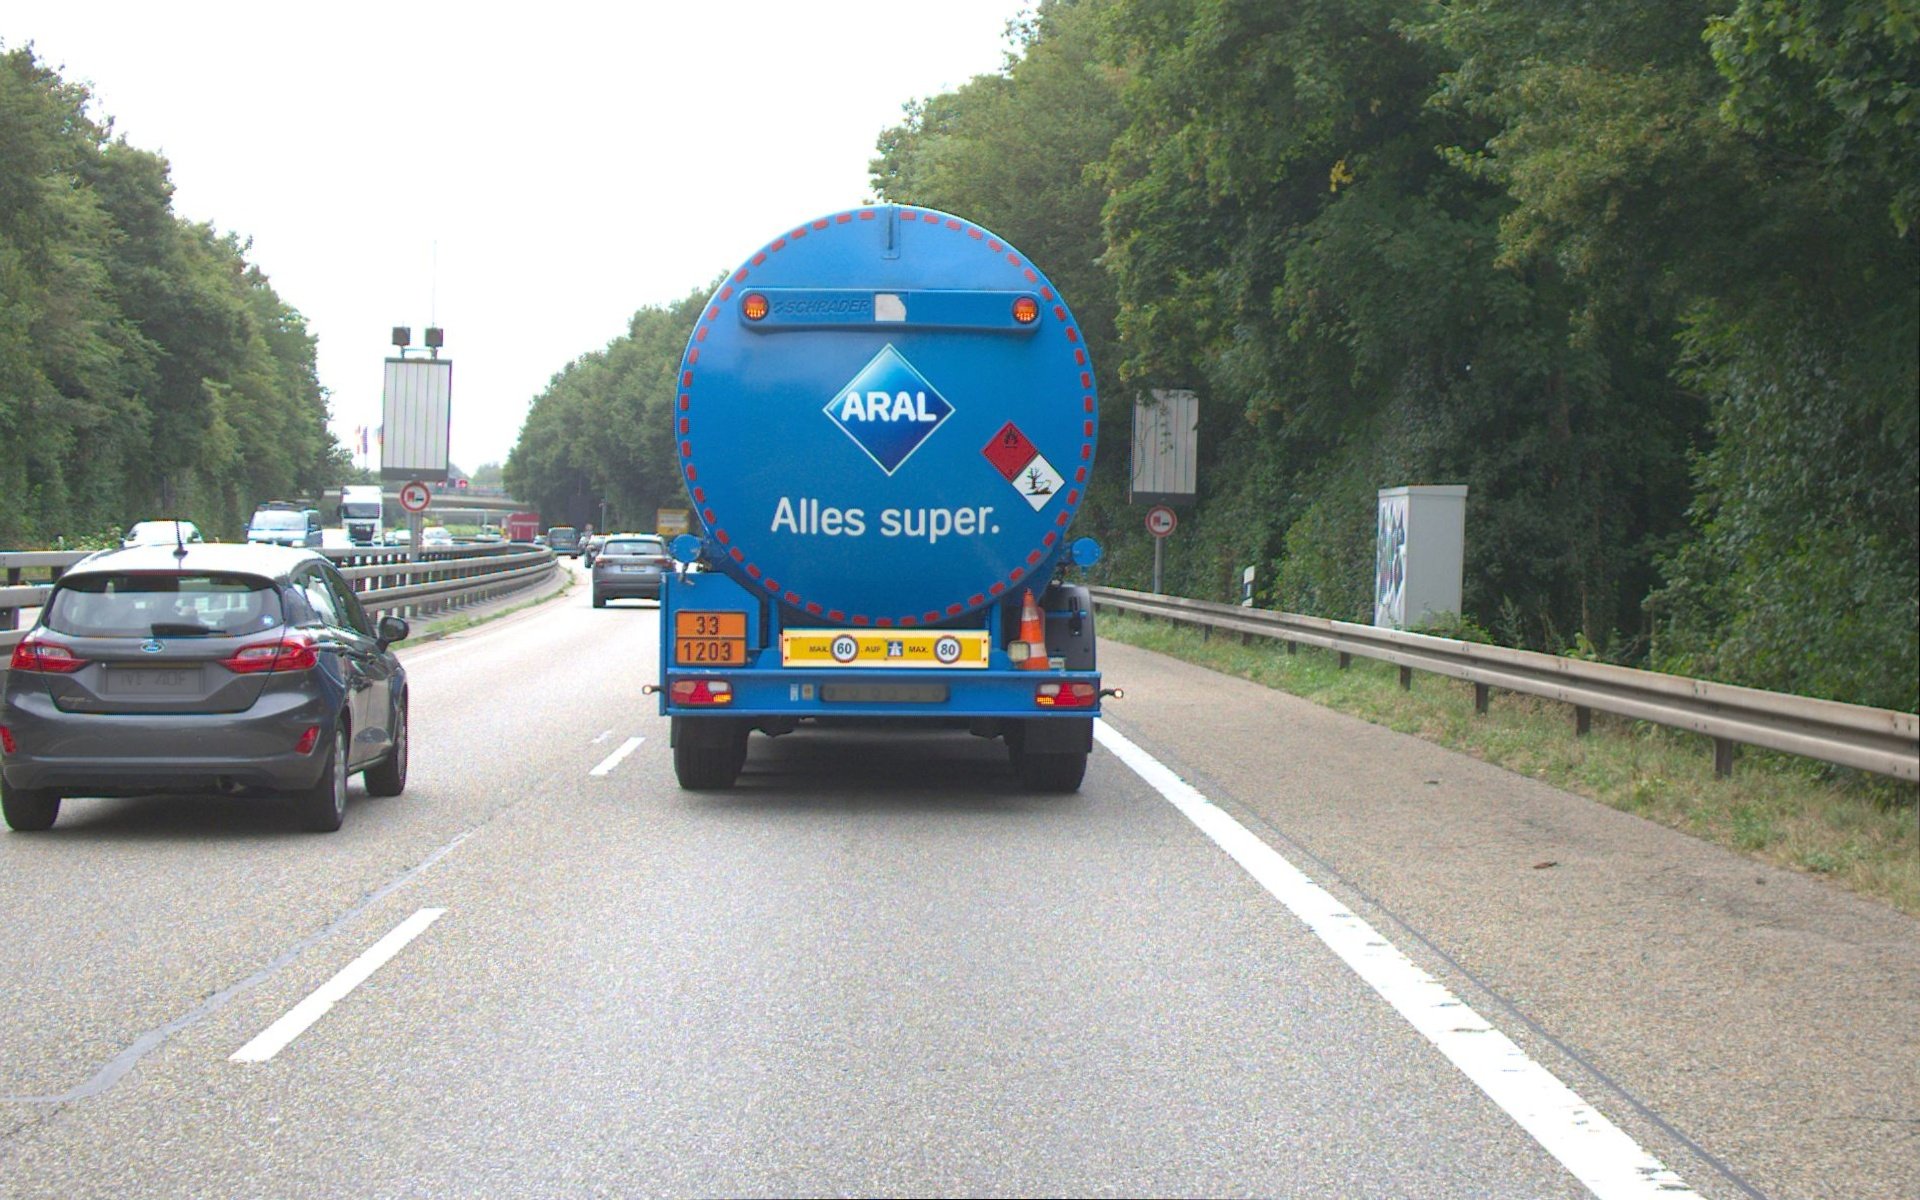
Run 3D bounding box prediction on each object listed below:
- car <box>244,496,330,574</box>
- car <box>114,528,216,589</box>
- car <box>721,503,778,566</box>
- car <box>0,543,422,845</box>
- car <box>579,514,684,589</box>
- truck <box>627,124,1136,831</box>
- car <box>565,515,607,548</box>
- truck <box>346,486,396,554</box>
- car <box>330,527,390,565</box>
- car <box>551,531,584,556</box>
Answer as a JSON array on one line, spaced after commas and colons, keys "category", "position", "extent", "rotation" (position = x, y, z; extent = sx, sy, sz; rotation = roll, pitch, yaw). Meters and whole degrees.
[{"category": "car", "position": [-20.492, -1.971, 104.861], "extent": [1.935, 2.313, 5.306], "rotation": [0, 1, -4]}, {"category": "car", "position": [-19.571, -1.030, 84.740], "extent": [1.694, 1.461, 4.090], "rotation": [0, 1, -2]}, {"category": "car", "position": [-7.650, -2.371, 124.451], "extent": [1.993, 2.237, 4.001], "rotation": [0, 1, -4]}, {"category": "car", "position": [-4.057, 0.425, 18.933], "extent": [1.826, 1.453, 4.640], "rotation": [0, 1, -5]}, {"category": "car", "position": [-7.205, -1.070, 75.651], "extent": [1.826, 1.604, 4.167], "rotation": [0, 1, 1]}, {"category": "truck", "position": [-0.370, -0.742, 22.552], "extent": [2.755, 3.833, 7.688], "rotation": [0, 1, 1]}, {"category": "car", "position": [-17.846, -3.259, 164.073], "extent": [1.954, 1.562, 4.001], "rotation": [0, 1, -6]}, {"category": "truck", "position": [-35.900, -4.864, 209.748], "extent": [2.692, 4.049, 5.324], "rotation": [0, 1, -6]}, {"category": "car", "position": [-24.259, -2.175, 139.103], "extent": [1.993, 1.476, 4.132], "rotation": [0, 1, -4]}, {"category": "car", "position": [-24.908, -3.559, 218.065], "extent": [1.993, 1.546, 4.001], "rotation": [0, 1, -7]}]
